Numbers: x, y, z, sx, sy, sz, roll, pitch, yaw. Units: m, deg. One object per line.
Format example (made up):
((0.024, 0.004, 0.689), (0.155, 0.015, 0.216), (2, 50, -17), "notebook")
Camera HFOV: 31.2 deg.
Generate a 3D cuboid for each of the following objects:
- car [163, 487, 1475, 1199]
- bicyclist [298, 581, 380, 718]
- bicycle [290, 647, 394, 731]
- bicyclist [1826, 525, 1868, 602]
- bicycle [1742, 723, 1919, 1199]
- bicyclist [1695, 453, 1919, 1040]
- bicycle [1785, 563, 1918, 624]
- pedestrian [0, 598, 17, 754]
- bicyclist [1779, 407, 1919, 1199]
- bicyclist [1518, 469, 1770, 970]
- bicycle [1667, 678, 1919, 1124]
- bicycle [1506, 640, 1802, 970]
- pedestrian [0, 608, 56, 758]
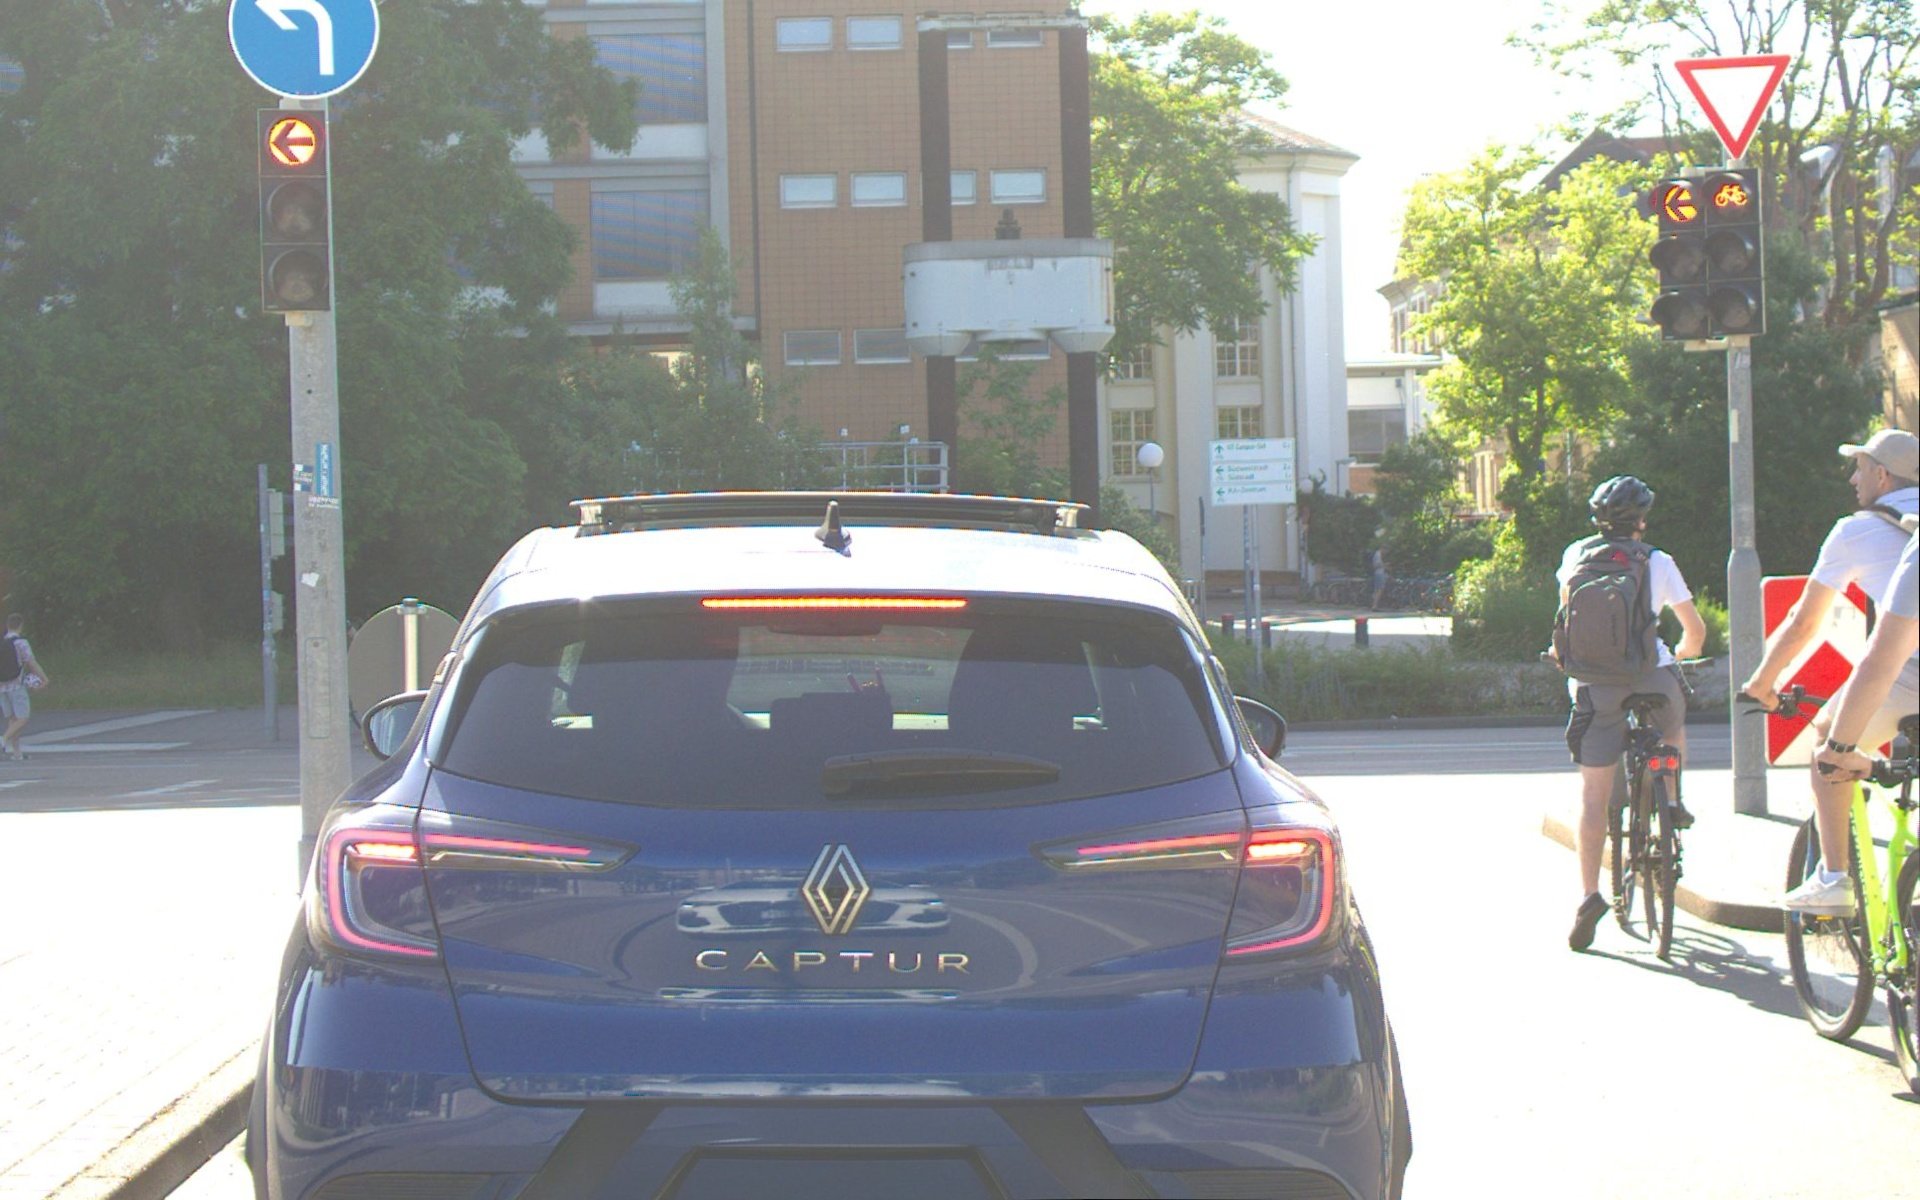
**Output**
((-0.270, 0.613, 6.654), (1.788, 1.580, 3.915), (0, 1, -2), "car")
((-7.905, 0.623, 43.801), (0.755, 1.710, 0.998), (-1, 1, 5), "bicyclist")
((-7.883, 1.124, 43.912), (0.755, 0.981, 2.093), (-1, 1, 5), "bicycle")
((17.319, -0.710, 67.145), (0.715, 1.476, 0.696), (-1, 1, 20), "bicyclist")
((2.231, 0.848, 7.280), (0.689, 1.085, 1.922), (0, 1, -1), "bicycle")
((2.579, 0.389, 9.867), (0.678, 1.589, 1.142), (0, 1, -1), "bicyclist")
((17.409, -0.121, 67.120), (2.435, 1.136, 0.696), (-1, 1, 20), "bicycle")
((-11.890, 0.917, 41.085), (0.814, 1.856, 0.909), (-1, 1, 13), "pedestrian")
((2.229, 0.505, 7.323), (0.683, 1.785, 1.142), (0, 1, -1), "bicyclist")
((2.532, 0.418, 12.827), (0.699, 1.785, 1.142), (0, 1, -1), "bicyclist")
((2.583, 0.802, 9.867), (0.689, 1.085, 1.922), (0, 1, -1), "bicycle")
((2.537, 0.715, 12.770), (0.689, 1.085, 1.922), (0, 1, -1), "bicycle")
((-11.143, 0.967, 40.425), (0.681, 1.724, 0.760), (-1, 1, 13), "pedestrian")
